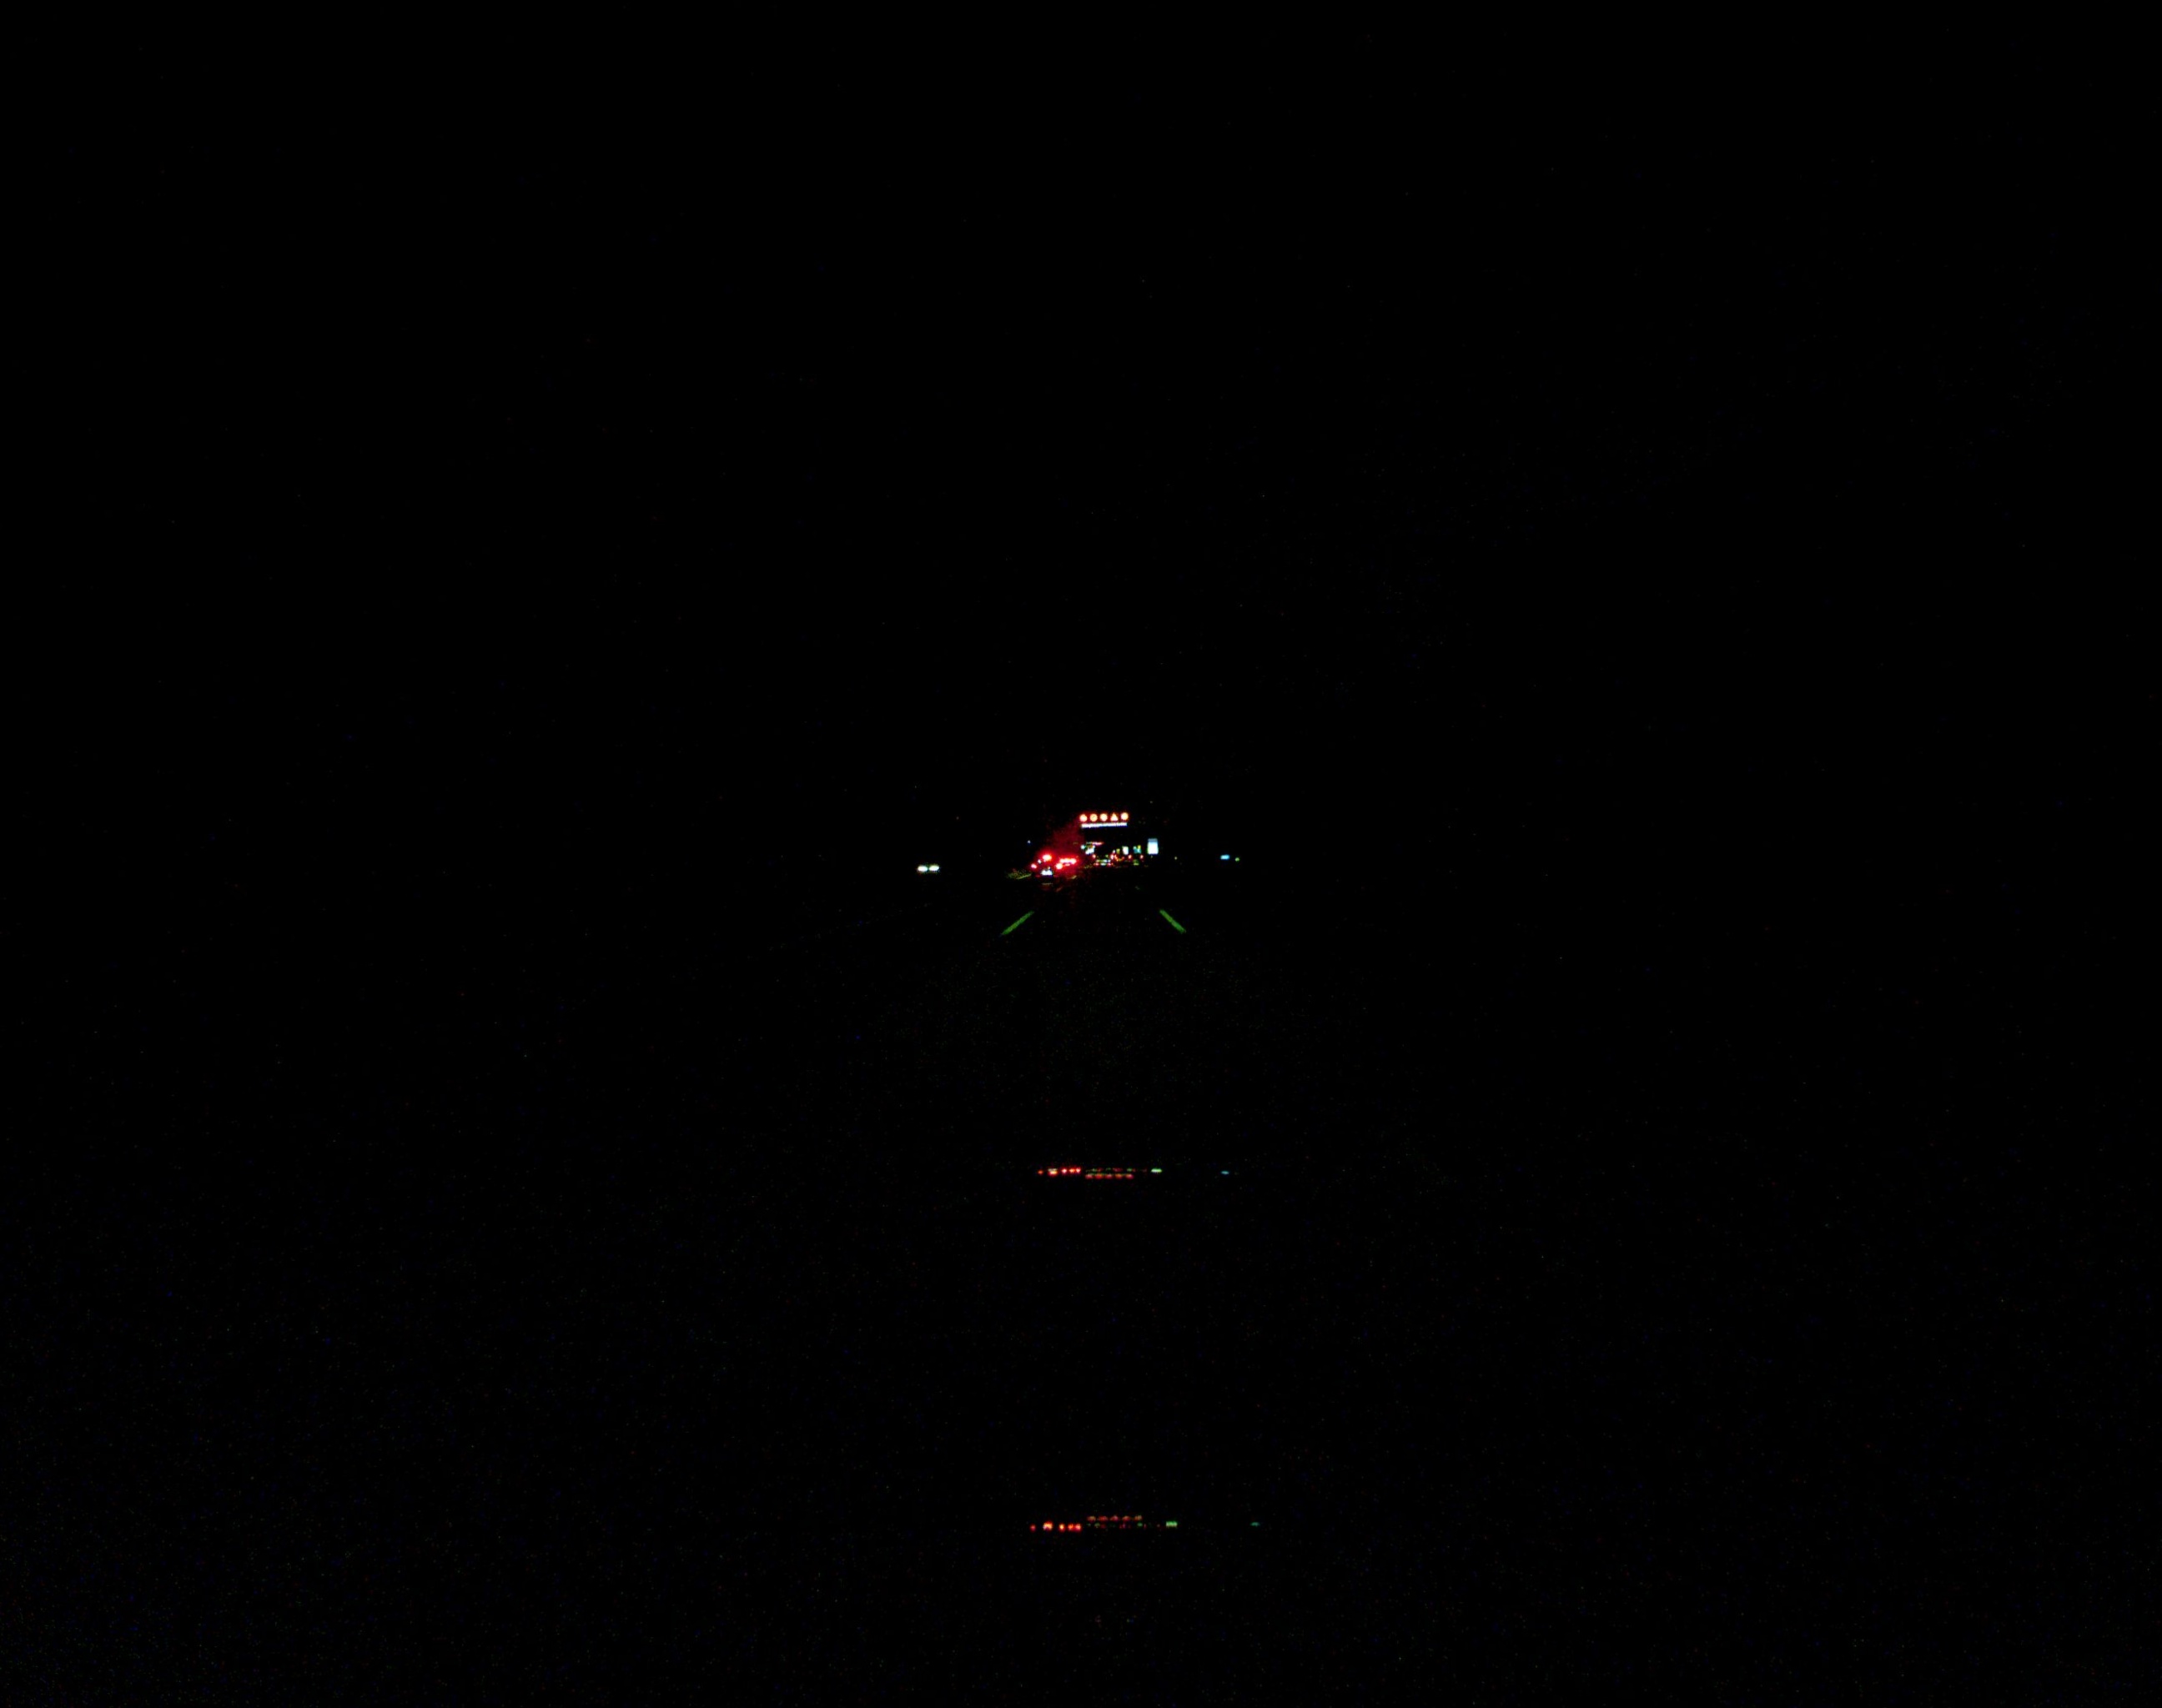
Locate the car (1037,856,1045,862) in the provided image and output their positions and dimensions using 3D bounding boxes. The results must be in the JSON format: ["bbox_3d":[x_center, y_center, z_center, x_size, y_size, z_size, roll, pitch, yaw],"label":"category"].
[{"bbox_3d":[-10.393,1.339,213.624,1.897,1.617,4.403,-2,0,0],"label":"car"}]

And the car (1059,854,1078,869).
[{"bbox_3d":[-1.236,0.739,83.981,1.738,1.440,4.369,-2,0,2],"label":"car"}]

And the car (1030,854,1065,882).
[{"bbox_3d":[-1.829,0.729,44.802,1.789,1.469,3.770,0,0,-2],"label":"car"}]

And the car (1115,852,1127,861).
[{"bbox_3d":[7.978,0.509,163.002,2.155,1.563,4.724,-1,0,2],"label":"car"}]

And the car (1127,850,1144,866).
[{"bbox_3d":[5.907,0.444,89.112,1.640,1.597,4.510,-1,0,1],"label":"car"}]

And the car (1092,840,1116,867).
[{"bbox_3d":[2.362,-0.063,83.120,2.342,2.535,5.703,-2,0,2],"label":"car"}]

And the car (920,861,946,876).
[{"bbox_3d":[-17.130,1.645,94.548,1.896,1.634,5.047,1,-1,2],"label":"car"}]
